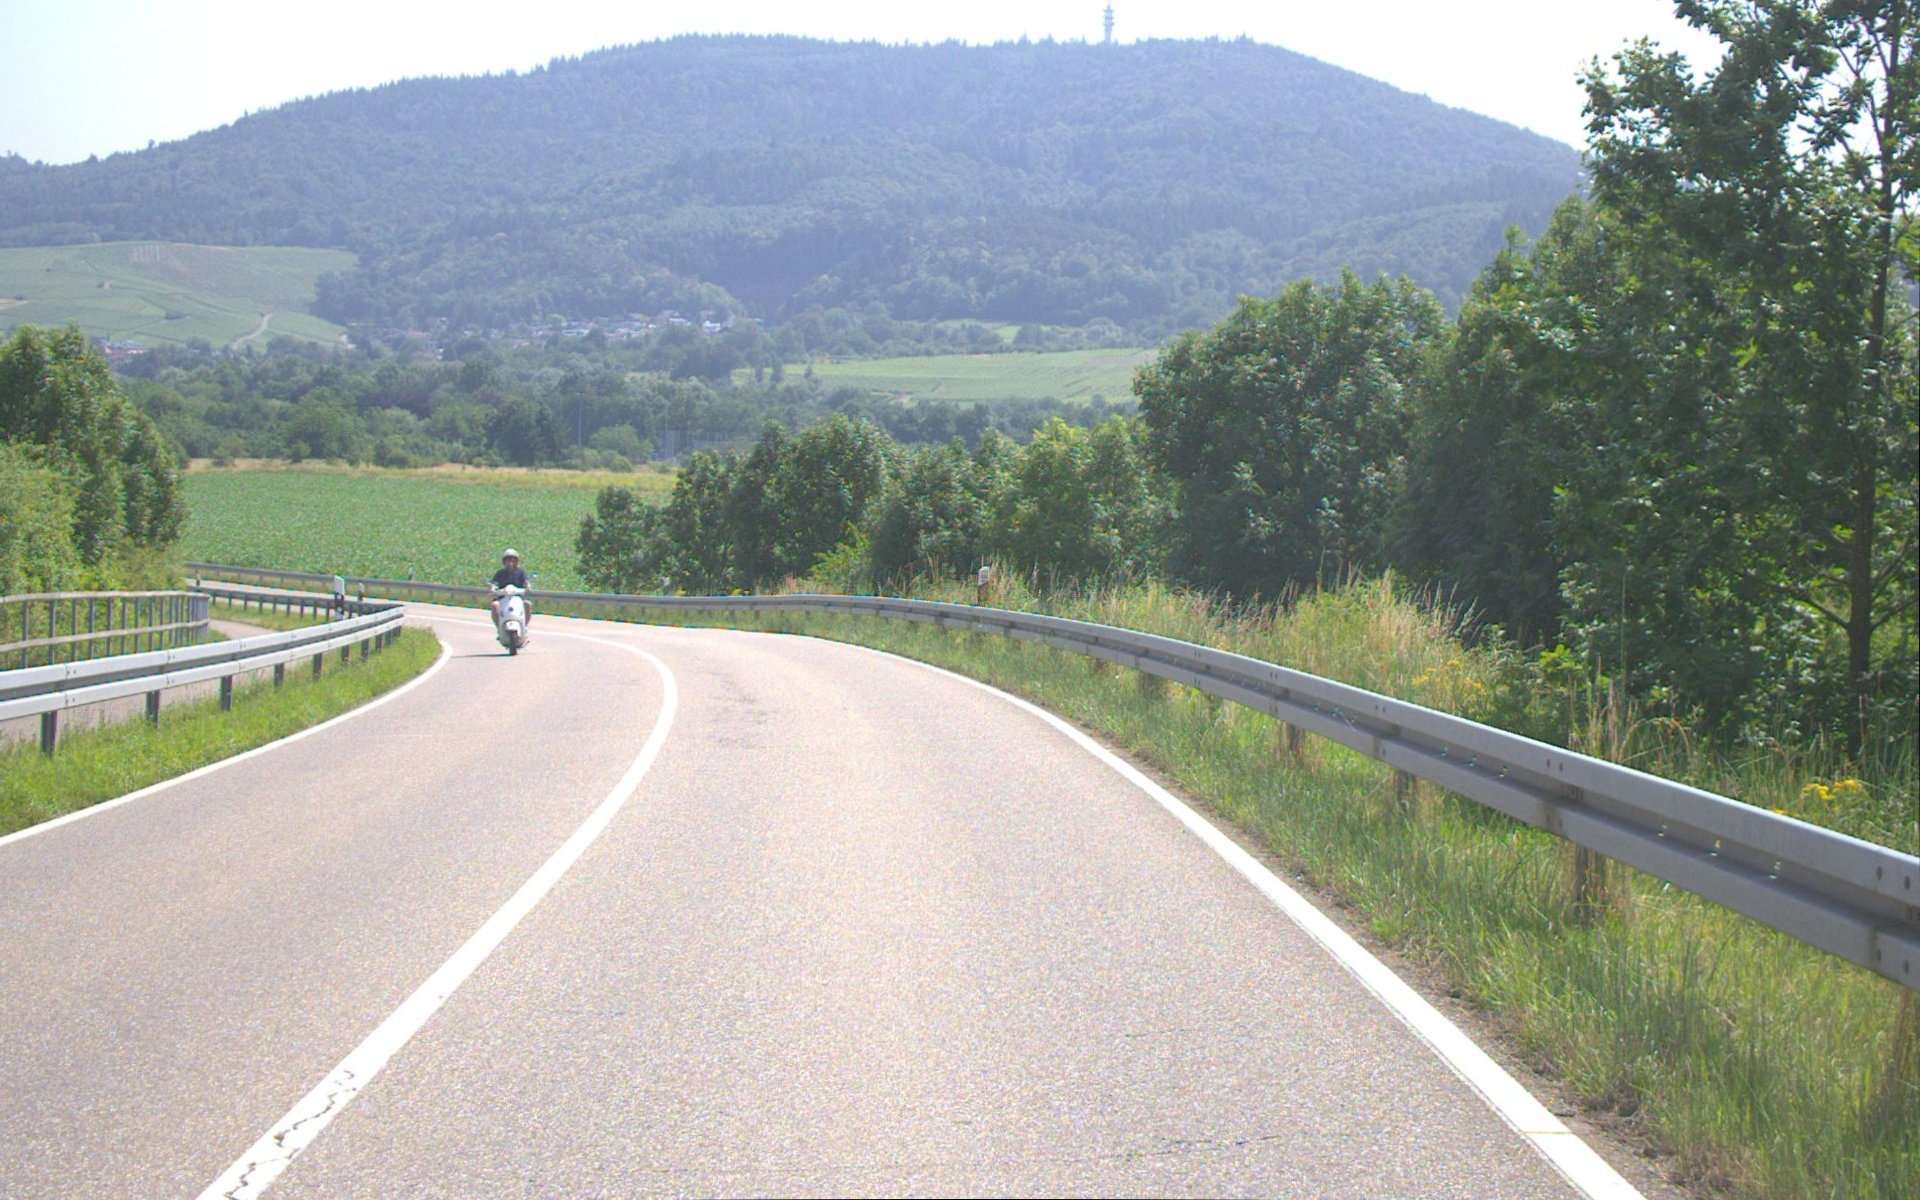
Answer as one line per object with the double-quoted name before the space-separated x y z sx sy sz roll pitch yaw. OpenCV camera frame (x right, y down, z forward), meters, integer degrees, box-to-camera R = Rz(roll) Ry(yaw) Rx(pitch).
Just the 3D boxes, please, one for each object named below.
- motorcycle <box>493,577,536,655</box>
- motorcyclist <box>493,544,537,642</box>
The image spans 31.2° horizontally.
"motorcycle" -7.259 0.248 56.064 0.643 1.219 1.639 -2 1 -7
"motorcyclist" -7.259 -0.117 56.078 0.654 1.557 0.775 -2 1 -7
